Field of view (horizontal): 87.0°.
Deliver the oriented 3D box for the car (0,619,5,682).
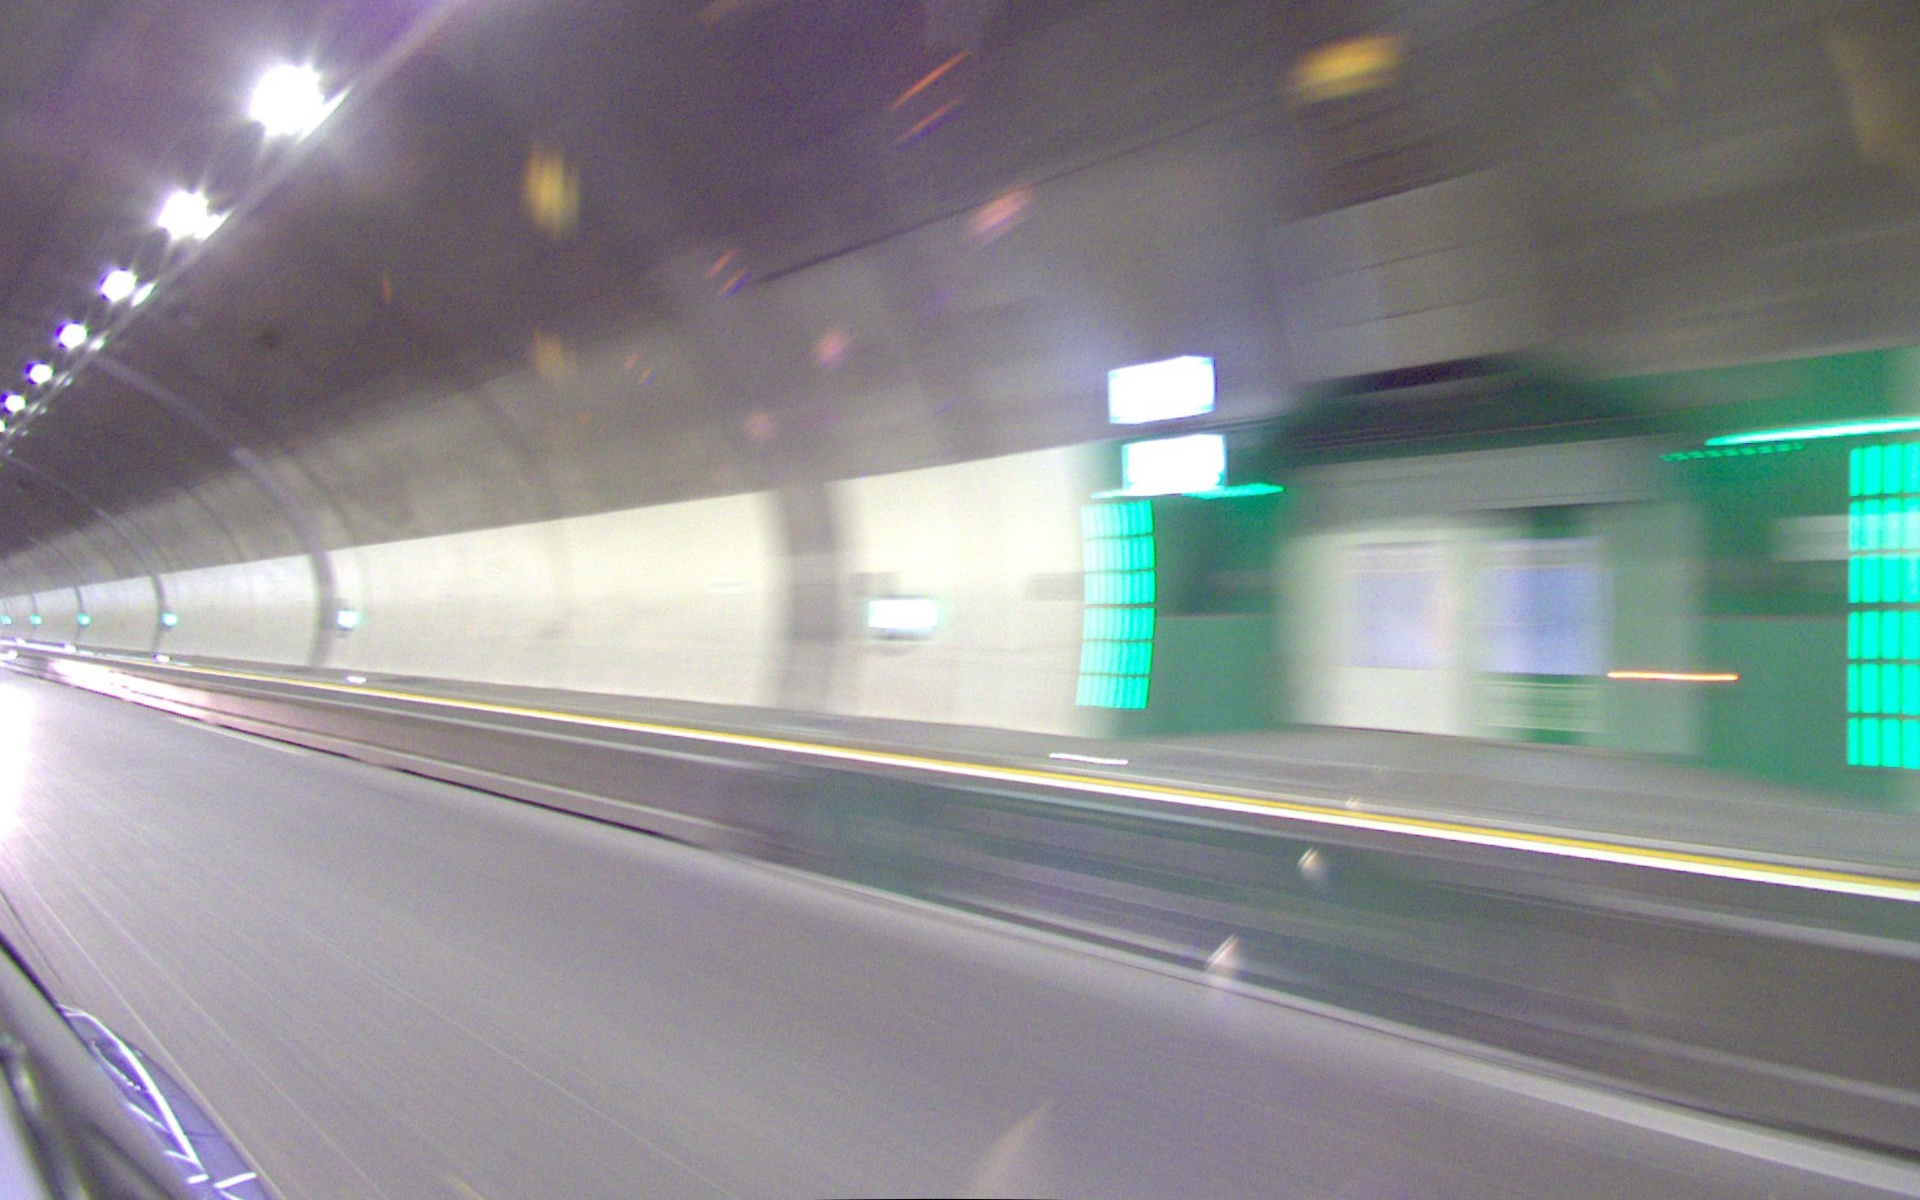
[{"bbox_3d":[-25.405,1.268,25.177,4.940,1.496,1.884,-2,-1,40],"label":"car"}]
